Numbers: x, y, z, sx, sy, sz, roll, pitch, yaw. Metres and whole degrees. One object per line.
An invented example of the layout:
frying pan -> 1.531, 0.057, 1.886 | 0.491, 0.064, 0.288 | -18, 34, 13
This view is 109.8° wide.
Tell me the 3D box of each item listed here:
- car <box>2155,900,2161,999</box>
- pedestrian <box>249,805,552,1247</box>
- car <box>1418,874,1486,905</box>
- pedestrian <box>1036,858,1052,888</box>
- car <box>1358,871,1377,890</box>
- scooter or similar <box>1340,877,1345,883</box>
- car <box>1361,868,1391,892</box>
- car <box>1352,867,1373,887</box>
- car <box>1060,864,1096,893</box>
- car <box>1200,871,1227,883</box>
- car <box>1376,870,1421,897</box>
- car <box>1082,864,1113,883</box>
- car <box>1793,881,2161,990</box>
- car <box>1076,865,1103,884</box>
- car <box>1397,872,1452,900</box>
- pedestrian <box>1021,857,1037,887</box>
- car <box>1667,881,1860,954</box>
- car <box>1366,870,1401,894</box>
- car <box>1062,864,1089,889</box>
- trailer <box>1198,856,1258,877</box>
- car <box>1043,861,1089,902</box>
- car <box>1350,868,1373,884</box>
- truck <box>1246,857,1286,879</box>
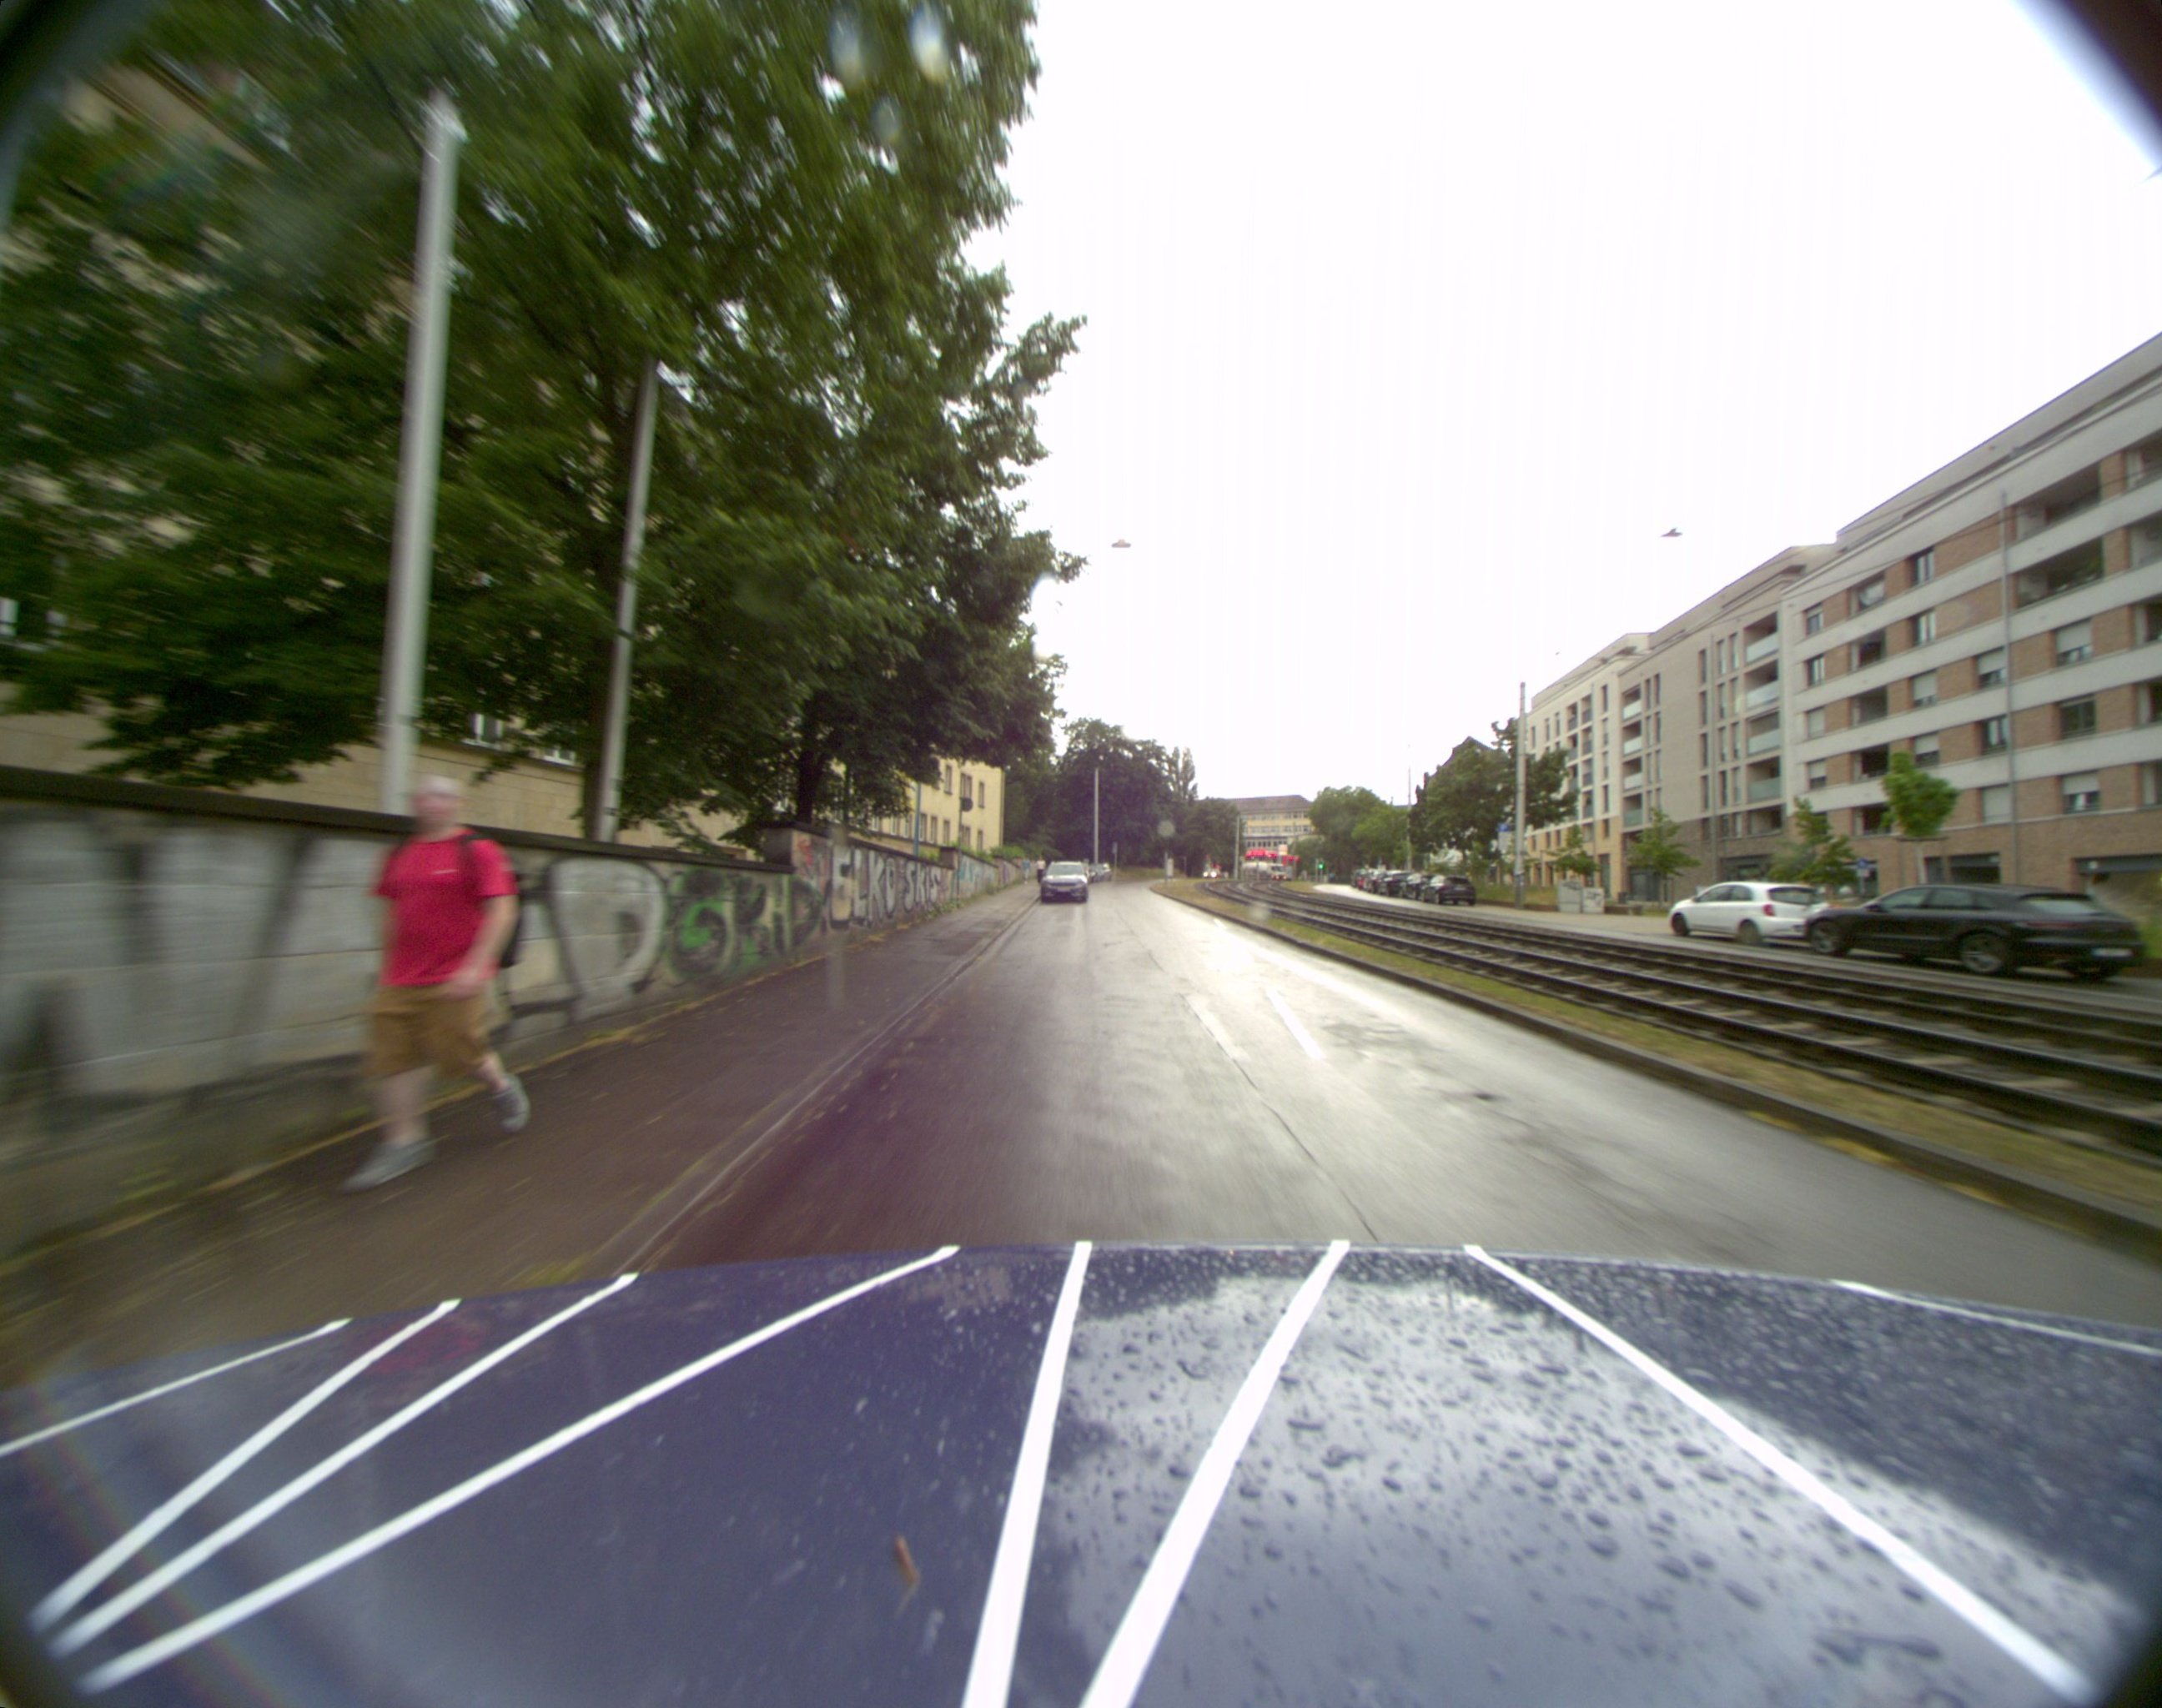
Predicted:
car -> 16.353, 1.392, 9.289 | 1.553, 1.427, 3.451 | 2, 0, 1
pedestrian -> -2.921, 0.677, 3.338 | 0.634, 1.711, 0.711 | 2, 0, 2
car -> 18.719, 1.742, 38.543 | 1.969, 1.422, 4.203 | 1, -1, 9
pedestrian -> -2.198, 1.116, 45.326 | 0.719, 1.744, 0.740 | 3, 0, 12
car -> 24.505, 2.249, 64.954 | 1.470, 1.522, 2.936 | 1, -1, 21
scooter or similar -> 54.856, 5.515, 159.302 | 1.365, 1.186, 0.399 | -1, 2, -42
car -> 23.460, 2.029, 60.473 | 1.665, 1.737, 4.263 | 1, -1, 14
car -> 27.513, 2.221, 74.318 | 1.583, 1.848, 4.339 | 0, -1, 17
car -> -0.134, 1.350, 43.248 | 1.669, 1.468, 4.459 | 3, -1, 3
car -> 17.484, 2.972, 99.853 | 1.885, 1.482, 3.858 | 2, 0, 38
car -> 20.569, 1.878, 49.442 | 1.806, 1.574, 4.703 | 1, -1, 12
car -> 1.374, 1.602, 62.961 | 1.599, 1.457, 2.726 | 3, 0, 24
car -> 16.426, 1.384, 14.375 | 1.770, 1.552, 4.406 | 2, 0, 1
car -> 0.690, 1.581, 59.204 | 1.538, 1.408, 3.647 | 3, 0, 9
car -> 19.918, 1.845, 44.259 | 1.740, 1.480, 4.260 | 1, -1, 7
pedestrian -> -3.104, 1.067, 45.501 | 0.719, 1.744, 0.740 | 3, 0, 12
car -> 16.873, 1.499, 19.063 | 1.769, 1.470, 3.737 | 2, 0, 8
car -> 21.696, 1.955, 54.637 | 1.734, 1.634, 4.537 | 1, -1, 14
car -> -0.353, 1.403, 48.367 | 1.670, 1.468, 4.066 | 1, 0, -1
trailer -> 25.439, 2.151, 131.651 | 9.809, 3.375, 2.820 | 1, -1, 27
car -> -0.547, 1.047, 30.284 | 1.669, 1.515, 4.109 | 1, -1, 1
car -> 29.137, 2.292, 78.918 | 1.996, 1.595, 4.221 | -2, -1, 17
truck -> 31.430, 2.383, 128.888 | 6.109, 3.379, 2.843 | 2, -1, 22
